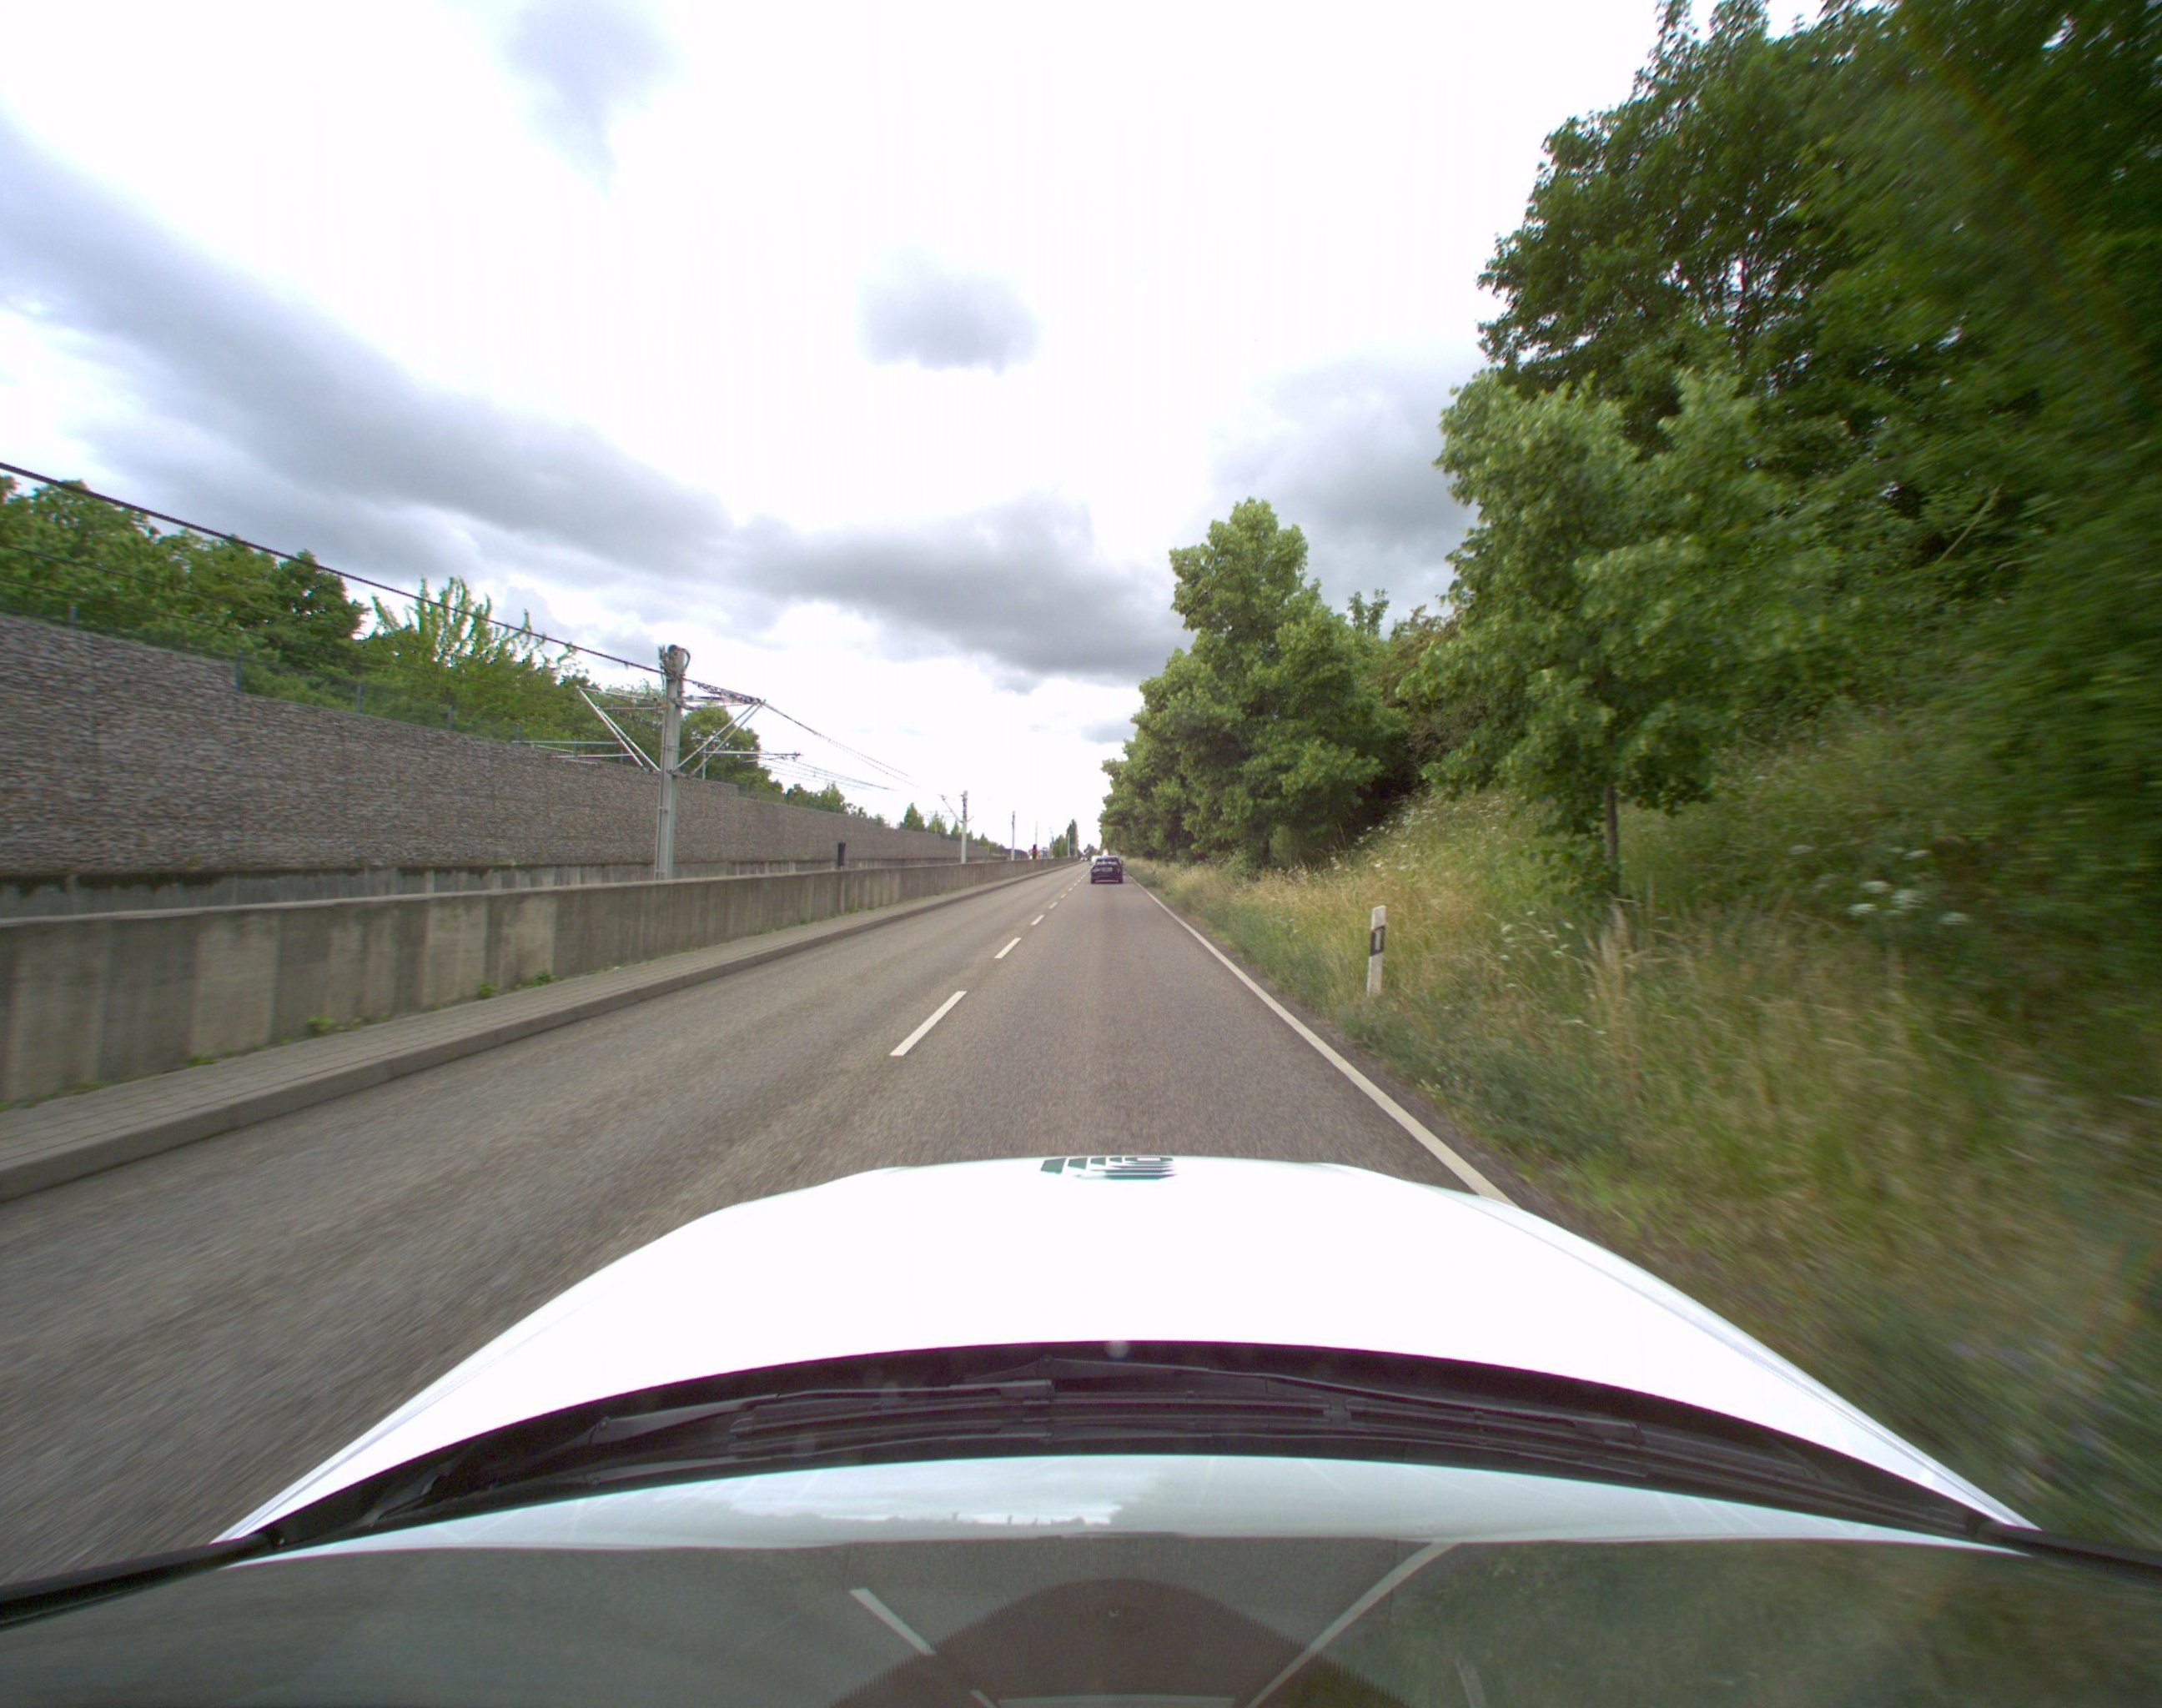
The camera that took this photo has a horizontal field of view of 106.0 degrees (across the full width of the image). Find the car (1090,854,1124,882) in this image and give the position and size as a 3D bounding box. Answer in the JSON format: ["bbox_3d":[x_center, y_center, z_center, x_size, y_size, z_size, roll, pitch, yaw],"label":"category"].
[{"bbox_3d":[1.426,0.762,45.053,1.775,1.468,4.002,-1,0,2],"label":"car"}]

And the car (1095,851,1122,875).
[{"bbox_3d":[2.112,0.680,63.223,1.986,1.753,4.002,-1,0,2],"label":"car"}]

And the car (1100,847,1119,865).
[{"bbox_3d":[2.990,0.231,85.114,1.986,1.740,4.001,-1,-1,2],"label":"car"}]

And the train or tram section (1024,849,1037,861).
[{"bbox_3d":[-14.697,0.334,234.372,2.809,3.117,18.868,0,-1,-7],"label":"train or tram section"}]

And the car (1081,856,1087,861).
[{"bbox_3d":[0.852,1.315,235.455,1.657,1.545,3.953,-1,0,1],"label":"car"}]
